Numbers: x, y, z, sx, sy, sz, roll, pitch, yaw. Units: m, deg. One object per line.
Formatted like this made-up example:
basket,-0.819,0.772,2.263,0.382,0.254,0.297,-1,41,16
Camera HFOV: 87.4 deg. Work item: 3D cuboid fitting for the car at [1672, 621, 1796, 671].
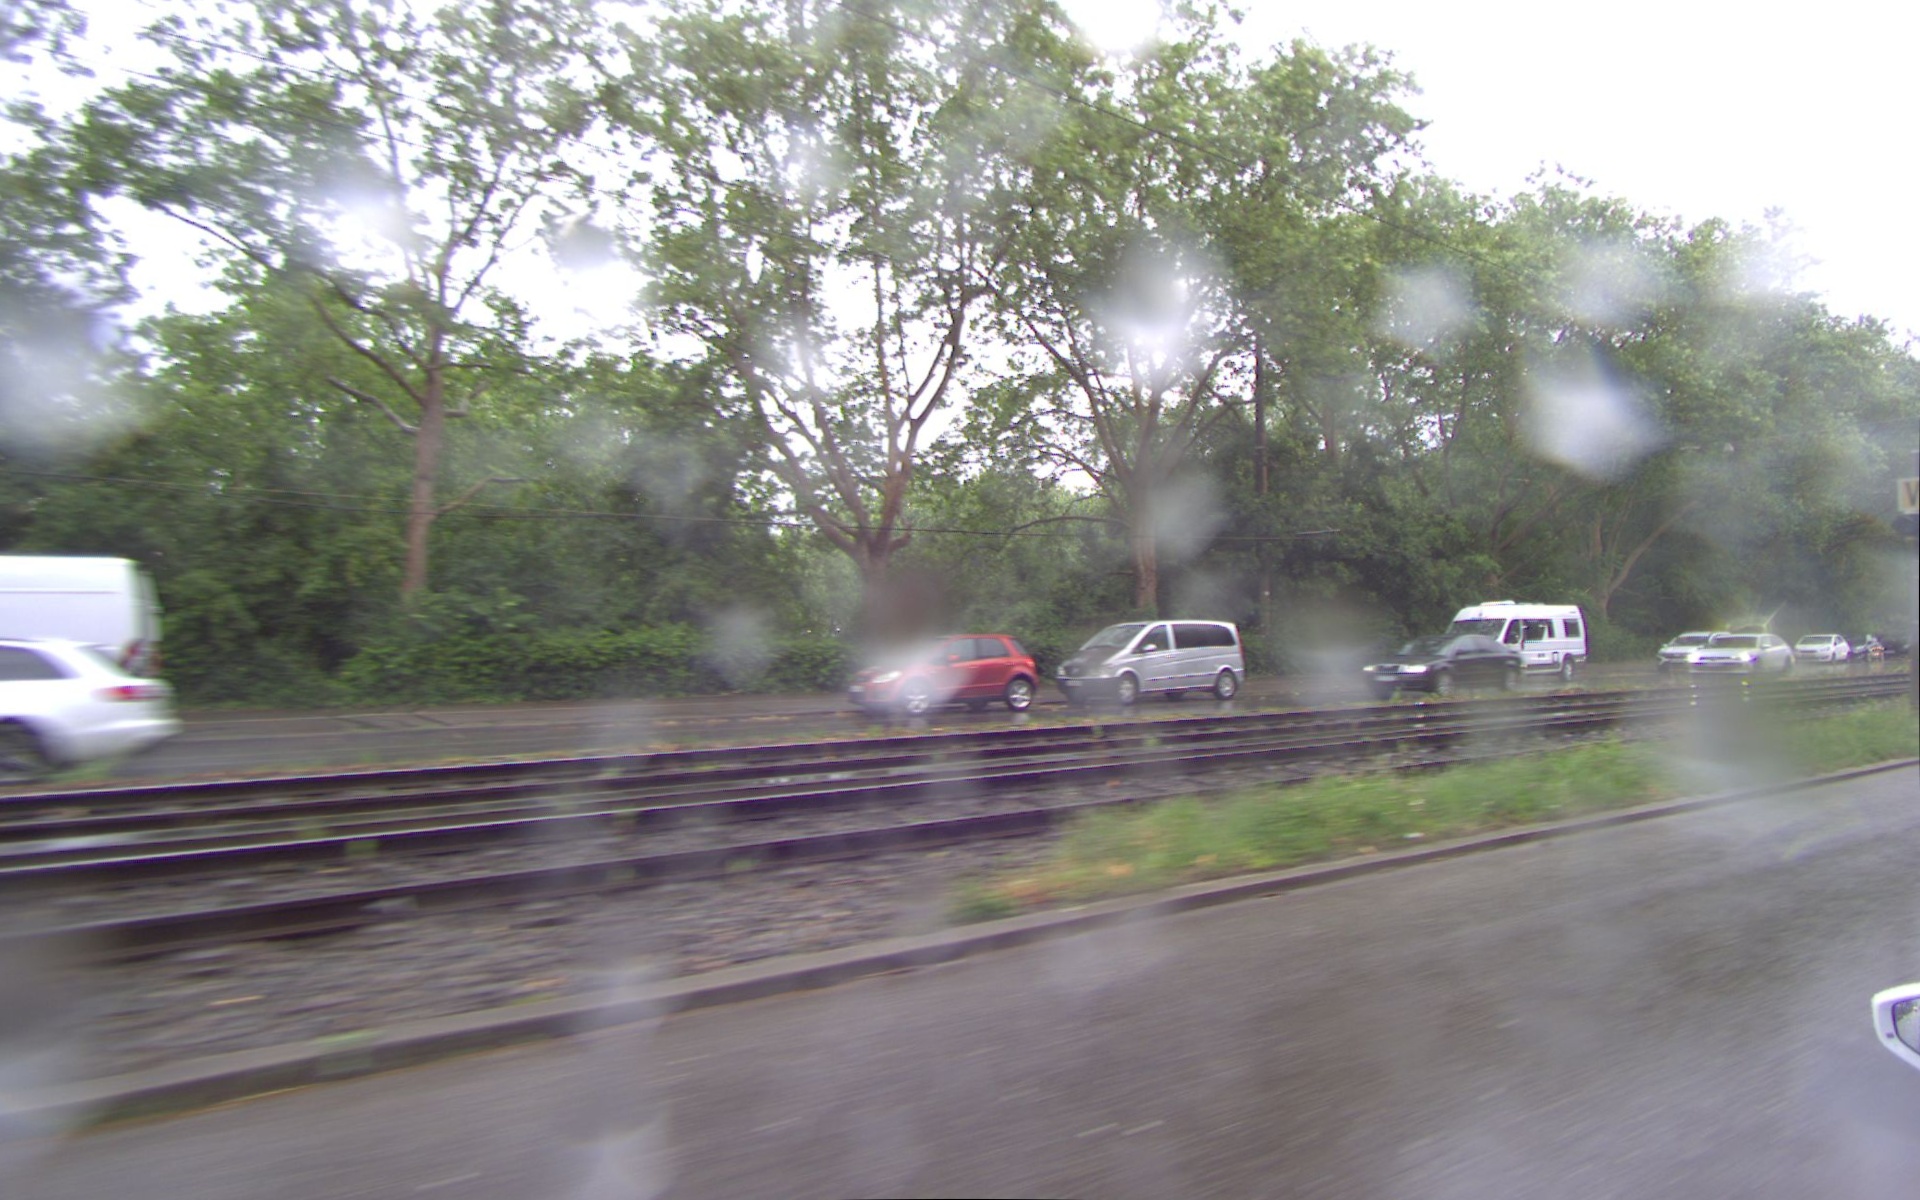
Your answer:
car,26.438,1.545,34.266,4.719,1.587,1.966,1,-3,-34

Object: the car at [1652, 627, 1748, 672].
car,29.934,1.977,40.597,4.486,1.750,1.739,1,-3,-35

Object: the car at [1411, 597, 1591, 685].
car,17.449,1.299,32.250,6.500,2.574,2.375,1,-3,-35

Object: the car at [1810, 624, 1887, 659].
car,47.508,2.223,53.689,4.647,1.774,2.019,1,-3,-35

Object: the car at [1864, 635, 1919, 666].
car,54.092,2.856,57.970,4.567,1.679,2.017,1,-1,-37

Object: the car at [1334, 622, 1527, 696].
car,11.112,1.343,23.650,4.517,1.572,2.022,1,-3,-33

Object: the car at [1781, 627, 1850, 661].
car,43.433,2.224,50.978,3.775,1.670,1.750,1,-3,-35

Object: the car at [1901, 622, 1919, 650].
car,59.908,2.219,61.847,4.563,1.679,2.018,1,-1,-35

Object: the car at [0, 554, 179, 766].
car,-13.248,0.712,11.881,6.074,2.478,2.316,1,-3,-34

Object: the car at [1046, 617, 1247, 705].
car,4.419,1.386,23.591,4.591,1.886,1.946,1,-3,-33

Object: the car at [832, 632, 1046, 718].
car,-0.395,1.451,20.293,3.981,1.572,1.808,1,-3,-33

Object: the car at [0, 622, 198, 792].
car,-10.402,1.015,9.496,4.946,1.572,2.021,1,-3,-35
